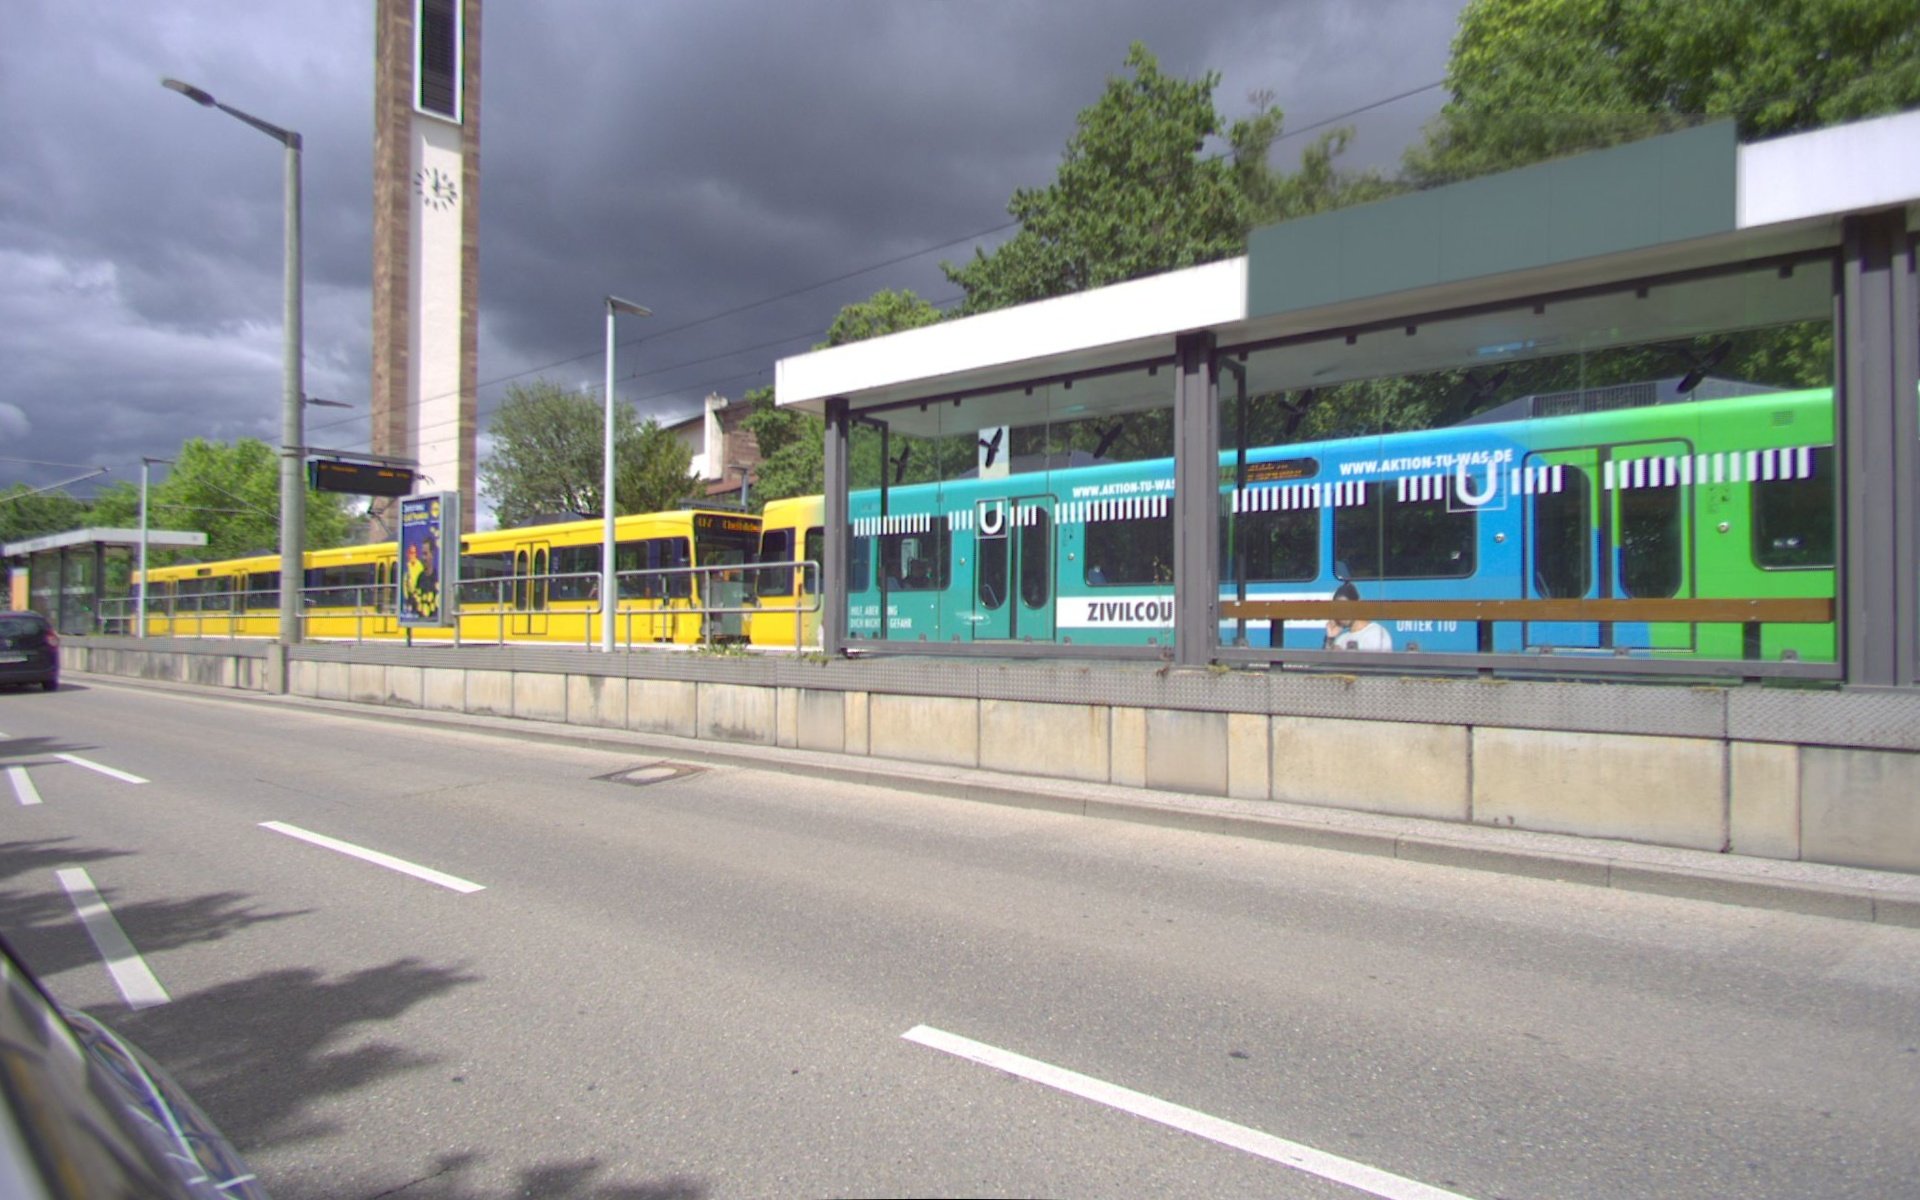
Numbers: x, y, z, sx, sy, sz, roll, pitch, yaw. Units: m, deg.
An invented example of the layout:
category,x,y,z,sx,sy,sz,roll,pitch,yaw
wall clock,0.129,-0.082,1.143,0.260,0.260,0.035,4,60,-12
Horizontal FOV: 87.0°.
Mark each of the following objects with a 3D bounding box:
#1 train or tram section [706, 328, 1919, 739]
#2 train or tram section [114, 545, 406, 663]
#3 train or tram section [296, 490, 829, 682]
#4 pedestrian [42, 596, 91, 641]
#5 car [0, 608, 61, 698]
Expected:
category,x,y,z,sx,sy,sz,roll,pitch,yaw
train or tram section,3.932,-0.460,13.811,19.167,3.491,3.079,-1,0,37
train or tram section,-26.165,0.267,36.896,18.795,3.491,3.079,-1,0,37
train or tram section,-11.190,-0.095,25.430,18.965,3.491,3.079,-1,0,37
pedestrian,-24.580,0.513,27.840,0.918,1.196,0.788,-1,-4,36
car,-19.938,1.060,20.576,4.381,1.695,1.704,-1,0,38
